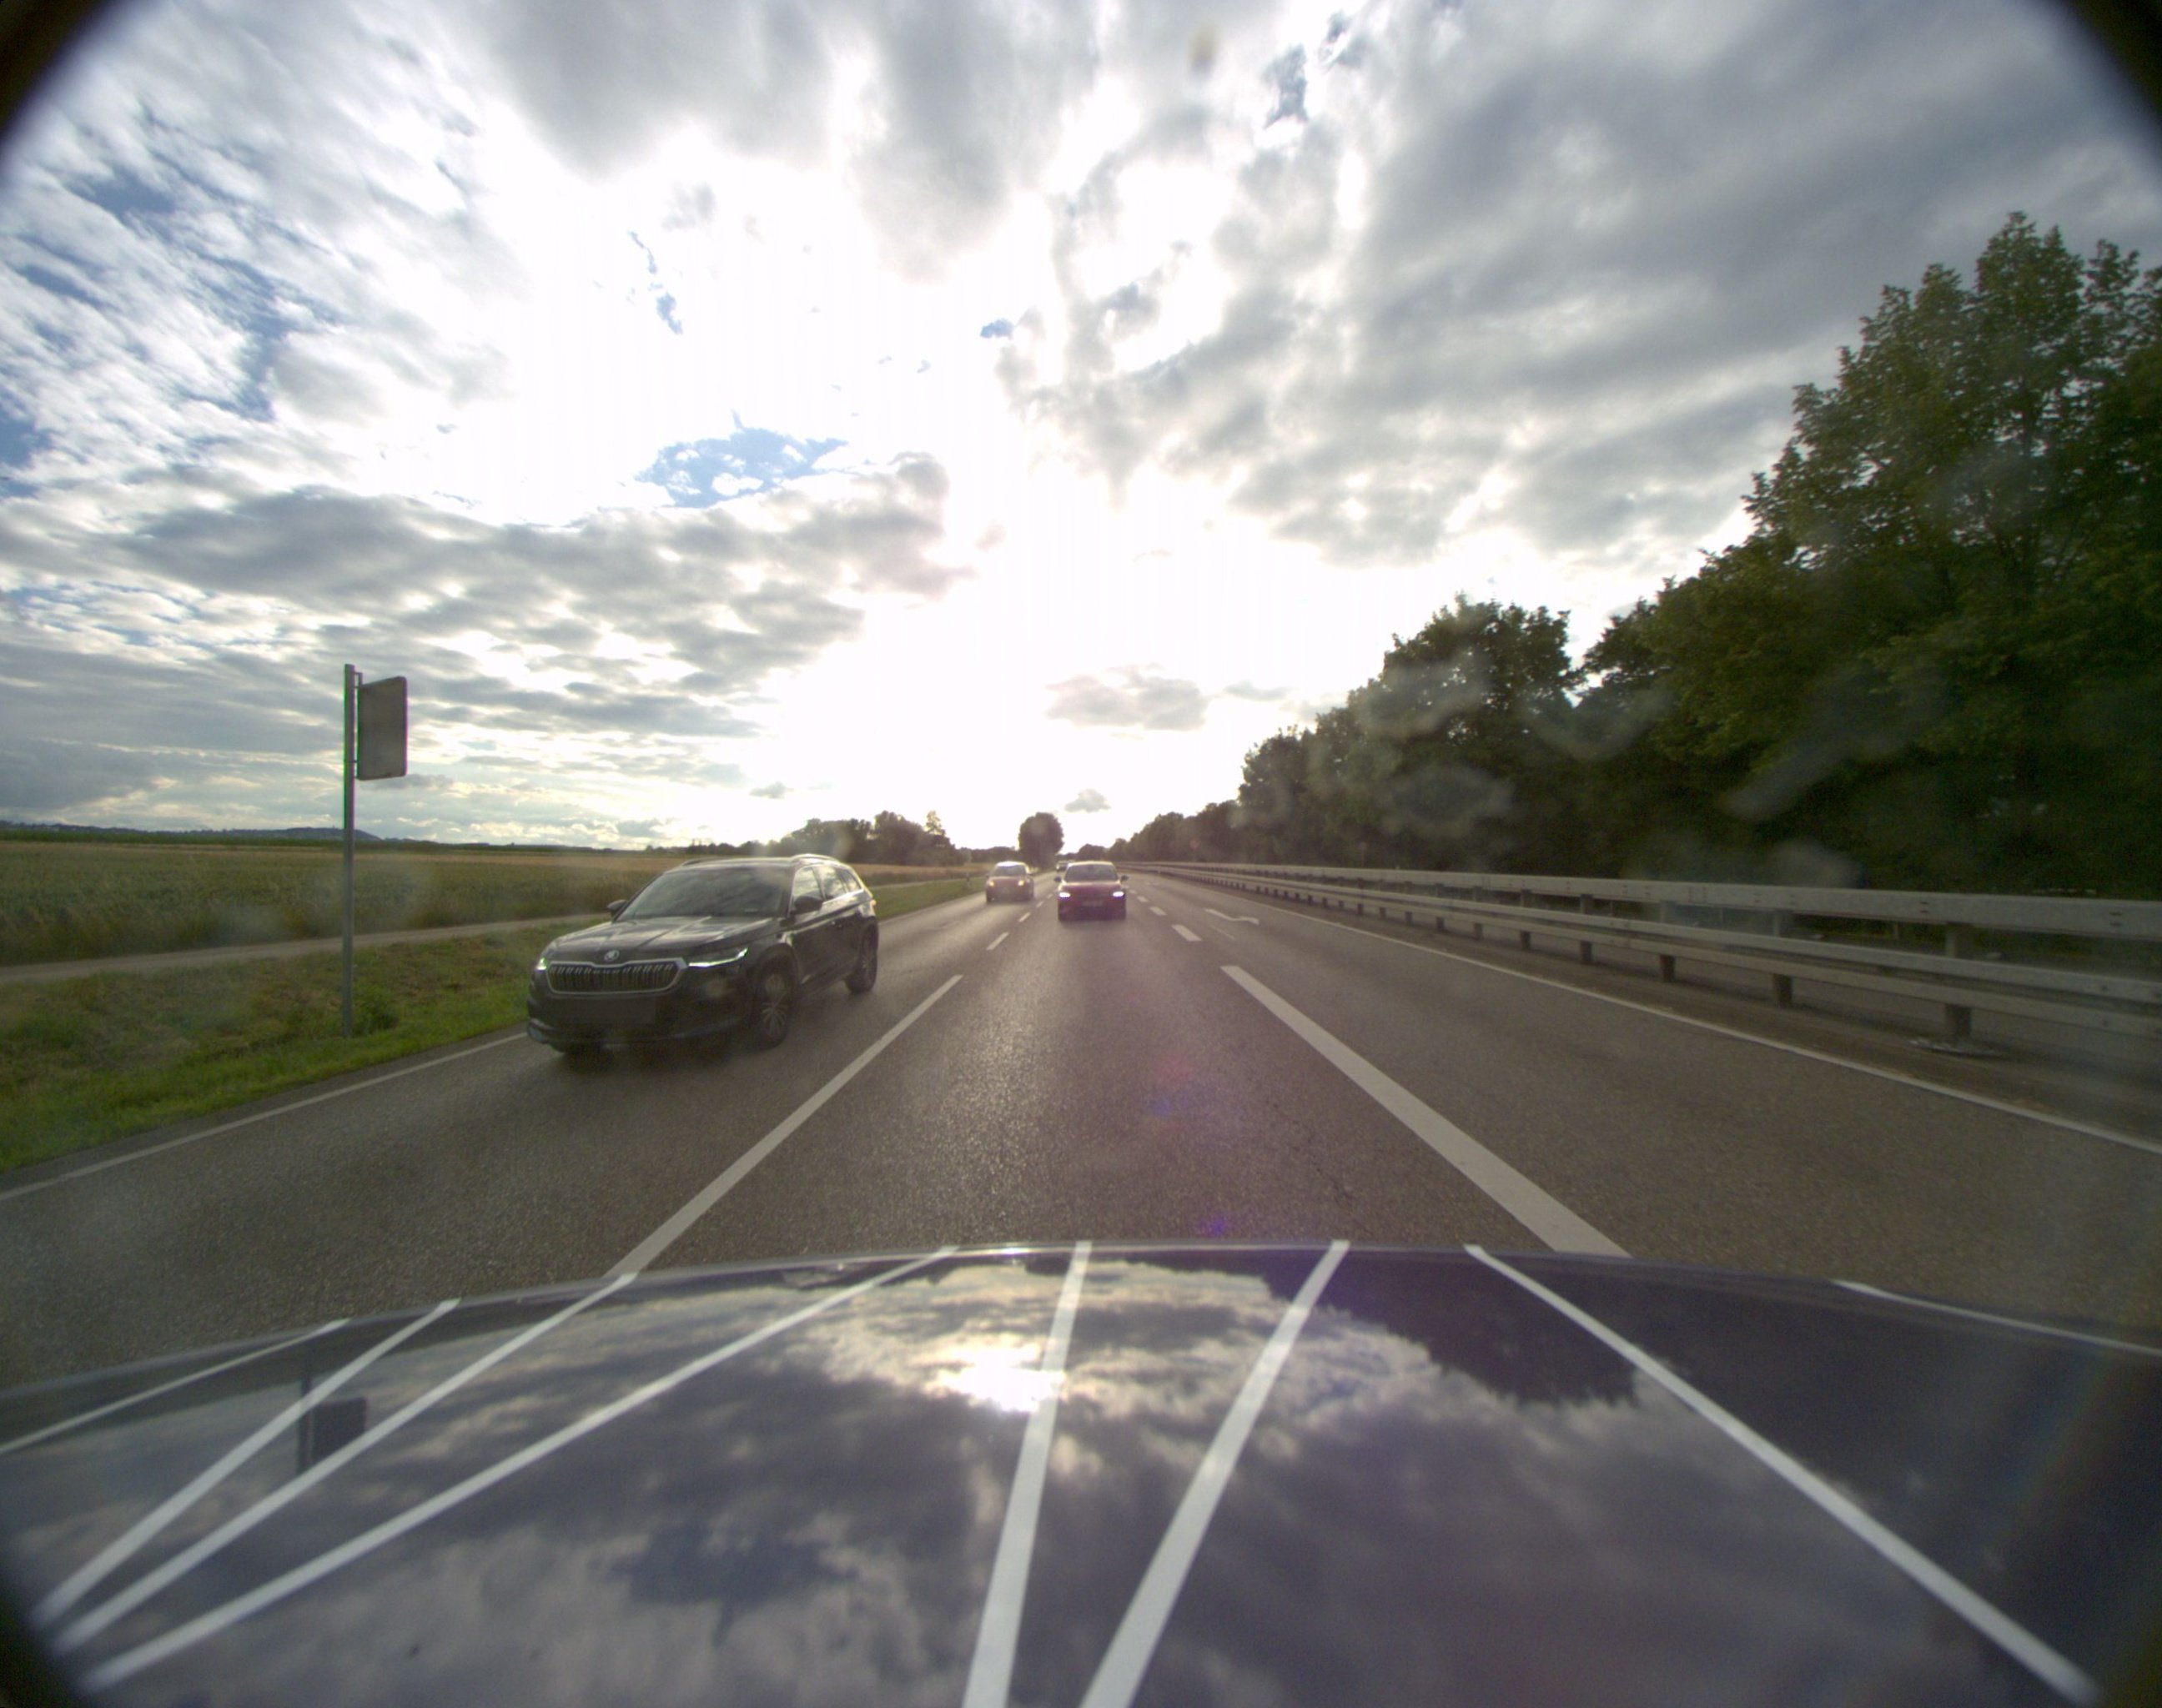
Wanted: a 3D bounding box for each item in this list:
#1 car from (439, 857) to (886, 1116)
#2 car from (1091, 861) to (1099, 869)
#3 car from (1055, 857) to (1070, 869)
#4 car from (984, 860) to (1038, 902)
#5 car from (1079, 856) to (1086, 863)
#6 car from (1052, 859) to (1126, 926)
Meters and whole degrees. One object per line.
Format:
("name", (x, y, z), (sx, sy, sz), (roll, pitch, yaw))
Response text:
("car", (-3.523, 0.946, 7.623), (1.841, 1.698, 4.556), (-2, 1, 1))
("car", (2.873, 2.160, 155.733), (1.712, 1.448, 4.061), (-2, 1, 1))
("car", (-2.378, 1.186, 99.049), (1.799, 1.448, 4.032), (-2, 0, 1))
("car", (-2.744, 1.020, 30.458), (1.712, 1.448, 3.908), (-2, 1, 1))
("car", (0.460, 1.587, 215.509), (1.671, 1.730, 4.032), (-2, 0, 1))
("car", (0.223, 0.938, 20.220), (1.712, 1.448, 4.061), (-2, 1, 1))
